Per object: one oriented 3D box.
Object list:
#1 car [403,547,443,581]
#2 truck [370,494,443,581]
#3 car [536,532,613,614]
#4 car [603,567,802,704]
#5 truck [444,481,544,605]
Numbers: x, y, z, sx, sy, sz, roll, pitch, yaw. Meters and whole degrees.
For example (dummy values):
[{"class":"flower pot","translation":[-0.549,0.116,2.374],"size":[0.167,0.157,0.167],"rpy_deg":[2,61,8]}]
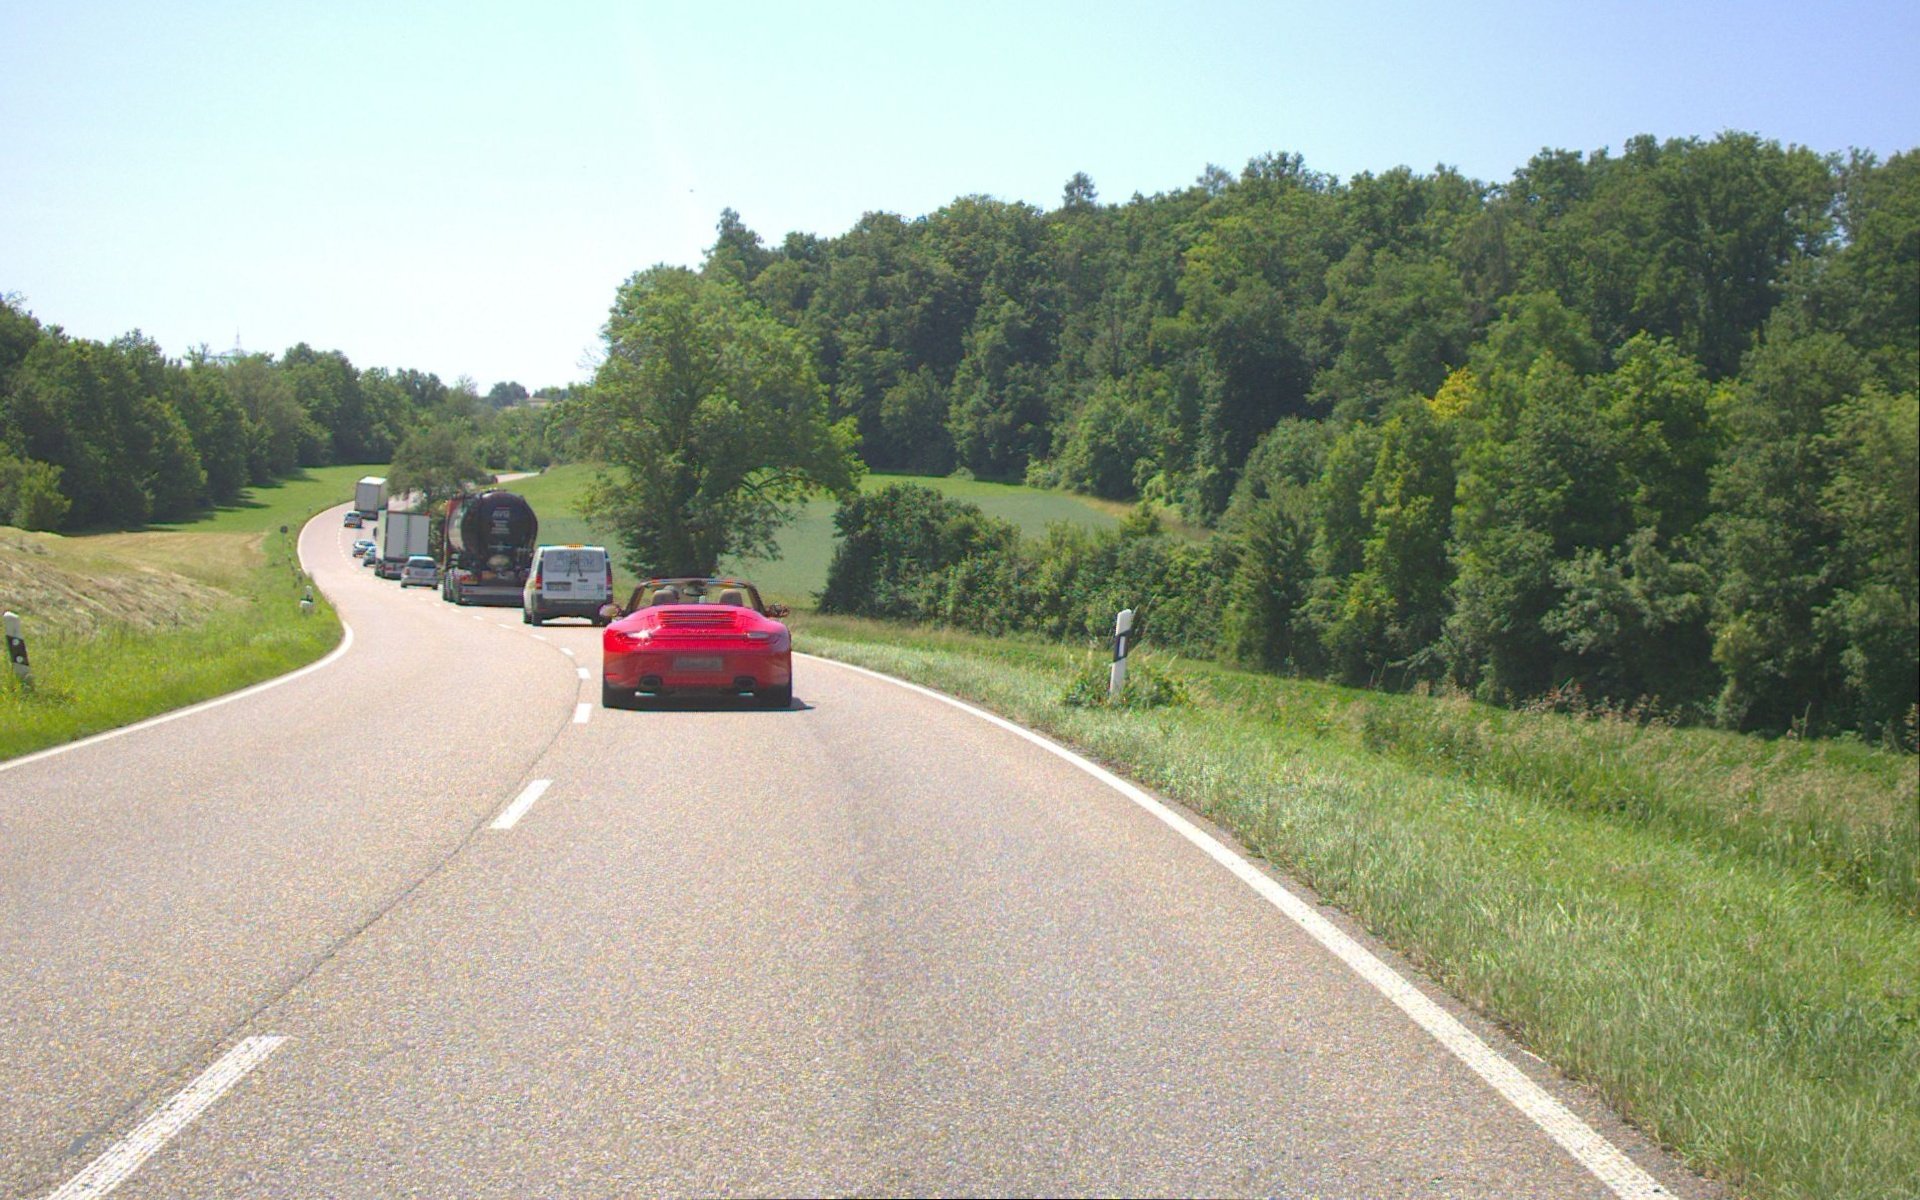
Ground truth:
[{"class":"car","translation":[-25.767,-1.741,164.824],"size":[1.722,1.579,4.161],"rpy_deg":[1,1,-11]},{"class":"truck","translation":[-32.923,-3.779,204.139],"size":[3.724,4.644,12.036],"rpy_deg":[1,3,-11]},{"class":"car","translation":[-9.263,-0.663,82.348],"size":[1.678,1.894,4.010],"rpy_deg":[0,1,-8]},{"class":"car","translation":[-2.612,0.320,34.792],"size":[1.882,1.251,4.010],"rpy_deg":[0,1,-4]},{"class":"truck","translation":[-16.245,-2.022,119.233],"size":[2.403,4.036,12.554],"rpy_deg":[1,1,-12]}]
